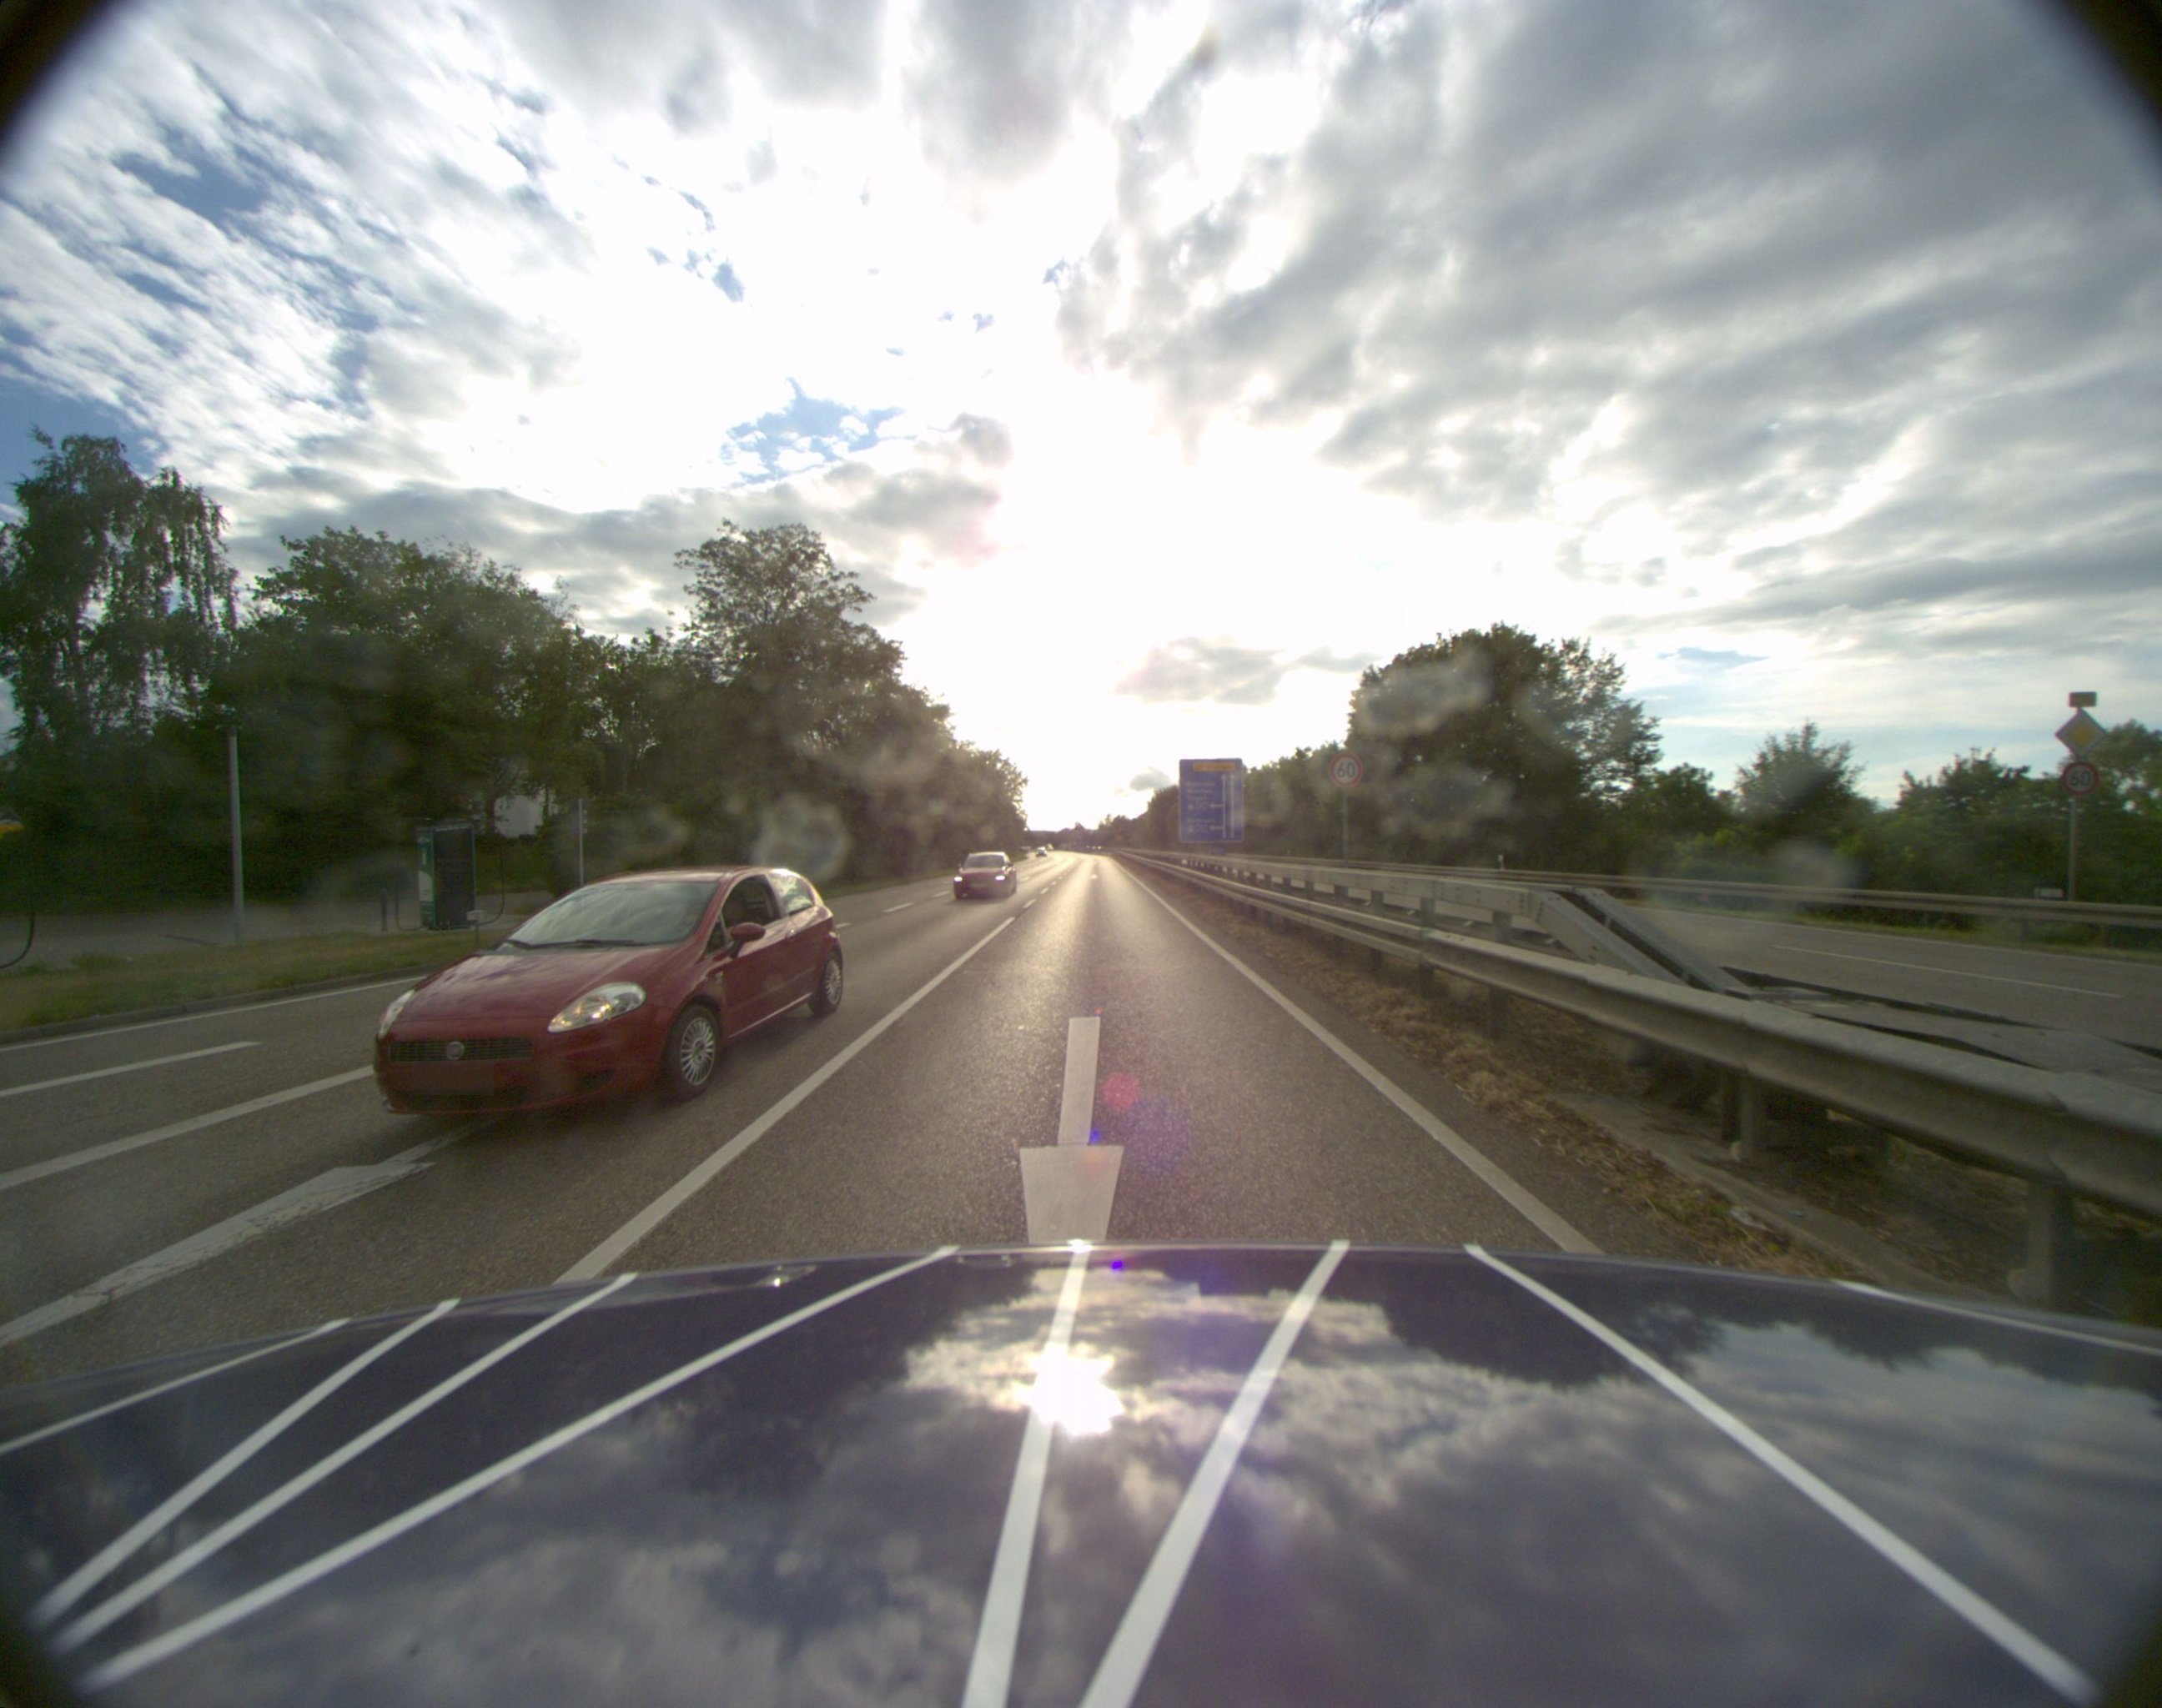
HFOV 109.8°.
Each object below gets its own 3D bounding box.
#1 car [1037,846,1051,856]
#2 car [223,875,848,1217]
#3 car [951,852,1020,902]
[{"bbox_3d":[-6.047,-0.504,125.358,1.998,1.486,3.999,0,1,1],"label":"car"},{"bbox_3d":[-3.216,0.982,5.636,1.667,1.424,3.994,-2,1,1],"label":"car"},{"bbox_3d":[-3.076,0.688,25.166,1.700,1.408,3.999,-2,1,0],"label":"car"}]
